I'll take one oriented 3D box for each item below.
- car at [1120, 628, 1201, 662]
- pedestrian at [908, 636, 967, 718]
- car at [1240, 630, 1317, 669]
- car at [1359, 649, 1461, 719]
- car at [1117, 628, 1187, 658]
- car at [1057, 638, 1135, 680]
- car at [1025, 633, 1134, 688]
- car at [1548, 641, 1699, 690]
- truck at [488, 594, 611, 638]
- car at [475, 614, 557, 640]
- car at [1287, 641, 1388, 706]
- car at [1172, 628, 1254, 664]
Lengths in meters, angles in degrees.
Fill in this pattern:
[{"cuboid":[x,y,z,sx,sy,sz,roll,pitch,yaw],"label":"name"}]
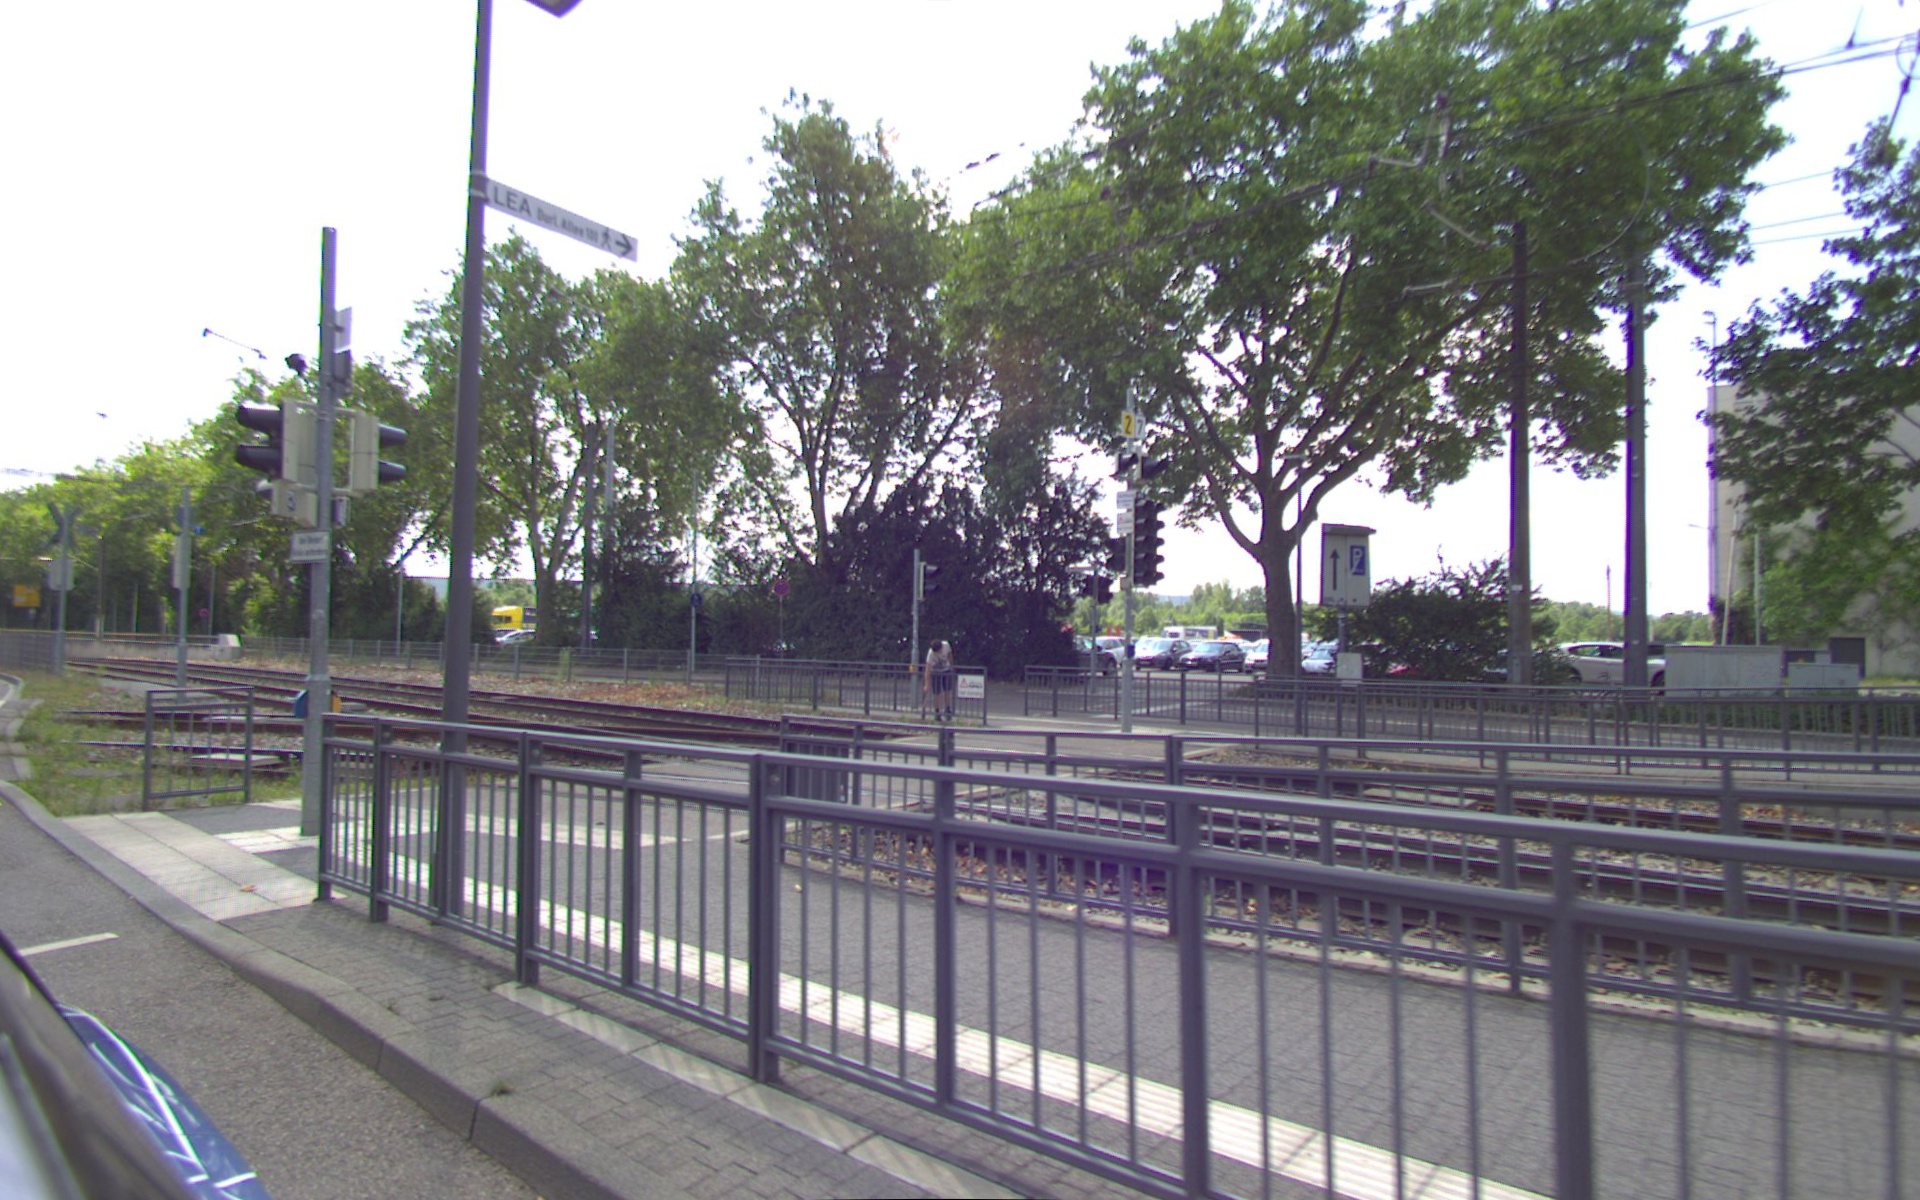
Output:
[{"cuboid":[9.151,2.023,46.094,1.832,1.497,3.942,-1,-2,43],"label":"car"},{"cuboid":[-0.379,1.329,17.578,0.911,1.354,0.863,1,-3,6],"label":"pedestrian"},{"cuboid":[13.520,2.047,42.848,1.776,1.438,3.947,-1,0,40],"label":"car"},{"cuboid":[12.451,2.246,27.886,1.800,1.763,3.951,-1,-4,36],"label":"car"},{"cuboid":[10.011,2.239,52.598,1.716,1.497,3.942,-1,-3,43],"label":"car"},{"cuboid":[6.573,2.854,48.502,1.996,1.913,4.059,-1,-4,36],"label":"car"},{"cuboid":[4.341,2.205,36.381,1.998,1.845,4.055,-1,-4,40],"label":"car"},{"cuboid":[21.794,2.117,33.296,3.995,1.487,1.780,-2,-4,39],"label":"car"},{"cuboid":[-45.233,1.894,112.081,2.746,4.105,12.657,-1,-4,40],"label":"truck"},{"cuboid":[-26.080,1.610,59.547,1.998,1.453,3.947,-1,-3,39],"label":"car"},{"cuboid":[11.111,2.117,29.626,1.800,1.763,3.951,-1,-4,36],"label":"car"},{"cuboid":[11.178,2.010,44.575,1.832,1.497,3.942,-1,-3,43],"label":"car"}]
